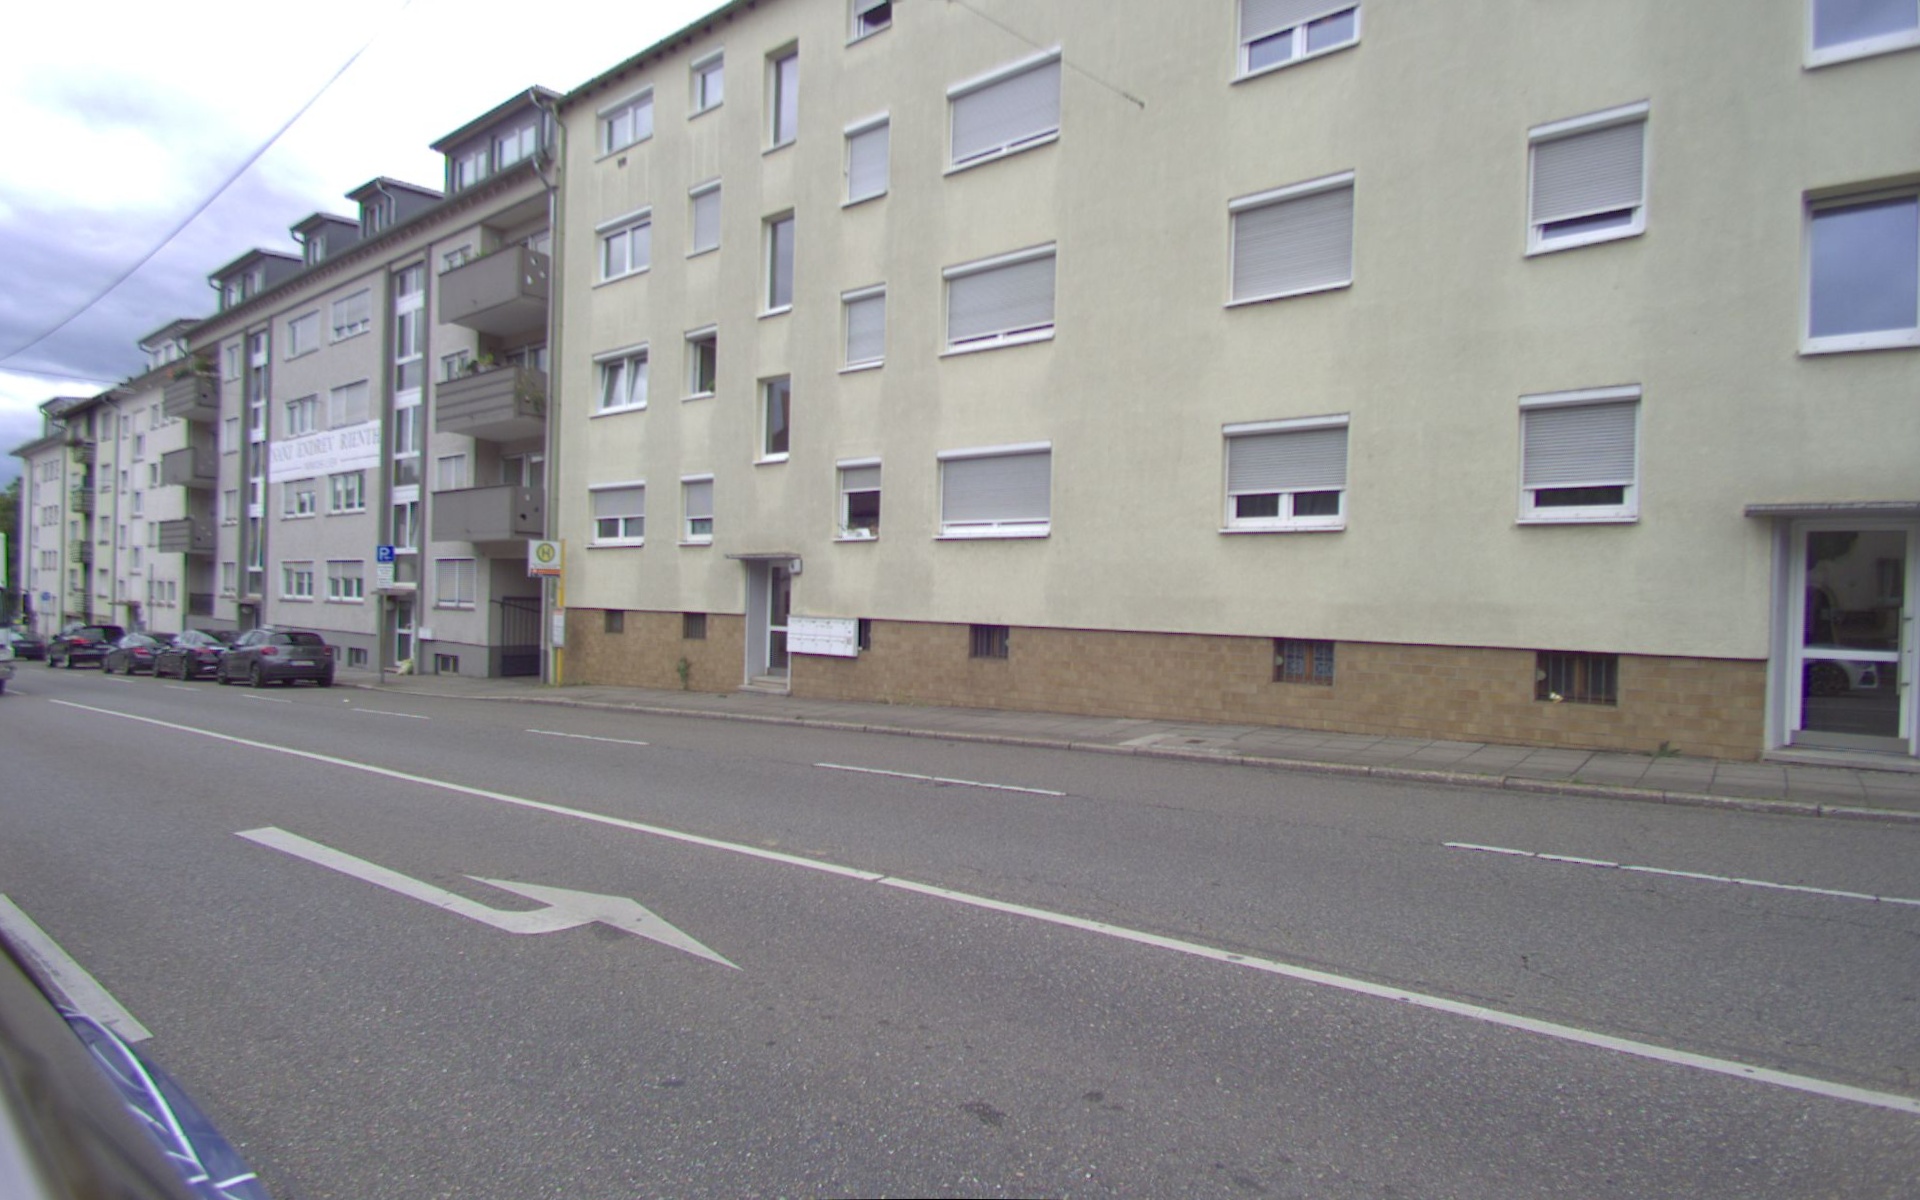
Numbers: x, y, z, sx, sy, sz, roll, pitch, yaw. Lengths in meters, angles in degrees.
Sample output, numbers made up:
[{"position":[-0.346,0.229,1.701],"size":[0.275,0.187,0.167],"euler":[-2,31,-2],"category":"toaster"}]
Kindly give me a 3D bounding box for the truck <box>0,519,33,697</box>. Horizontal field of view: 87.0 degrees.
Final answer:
[{"position":[-23.167,0.255,22.213],"size":[8.049,3.602,2.743],"euler":[-2,-1,37],"category":"truck"}]

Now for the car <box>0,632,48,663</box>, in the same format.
[{"position":[-46.428,2.317,49.710],"size":[4.305,1.391,1.851],"euler":[-1,-4,41],"category":"car"}]

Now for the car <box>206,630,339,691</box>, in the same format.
[{"position":[-17.791,1.534,26.138],"size":[3.797,1.447,1.751],"euler":[-1,-4,39],"category":"car"}]

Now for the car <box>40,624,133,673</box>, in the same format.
[{"position":[-33.544,1.858,38.847],"size":[4.302,1.767,1.852],"euler":[-1,-4,39],"category":"car"}]

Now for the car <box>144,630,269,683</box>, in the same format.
[{"position":[-22.196,1.626,29.760],"size":[4.712,1.416,1.751],"euler":[-1,-4,39],"category":"car"}]

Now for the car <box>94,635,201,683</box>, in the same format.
[{"position":[-26.594,1.900,33.089],"size":[4.302,1.416,1.751],"euler":[-1,-4,39],"category":"car"}]
